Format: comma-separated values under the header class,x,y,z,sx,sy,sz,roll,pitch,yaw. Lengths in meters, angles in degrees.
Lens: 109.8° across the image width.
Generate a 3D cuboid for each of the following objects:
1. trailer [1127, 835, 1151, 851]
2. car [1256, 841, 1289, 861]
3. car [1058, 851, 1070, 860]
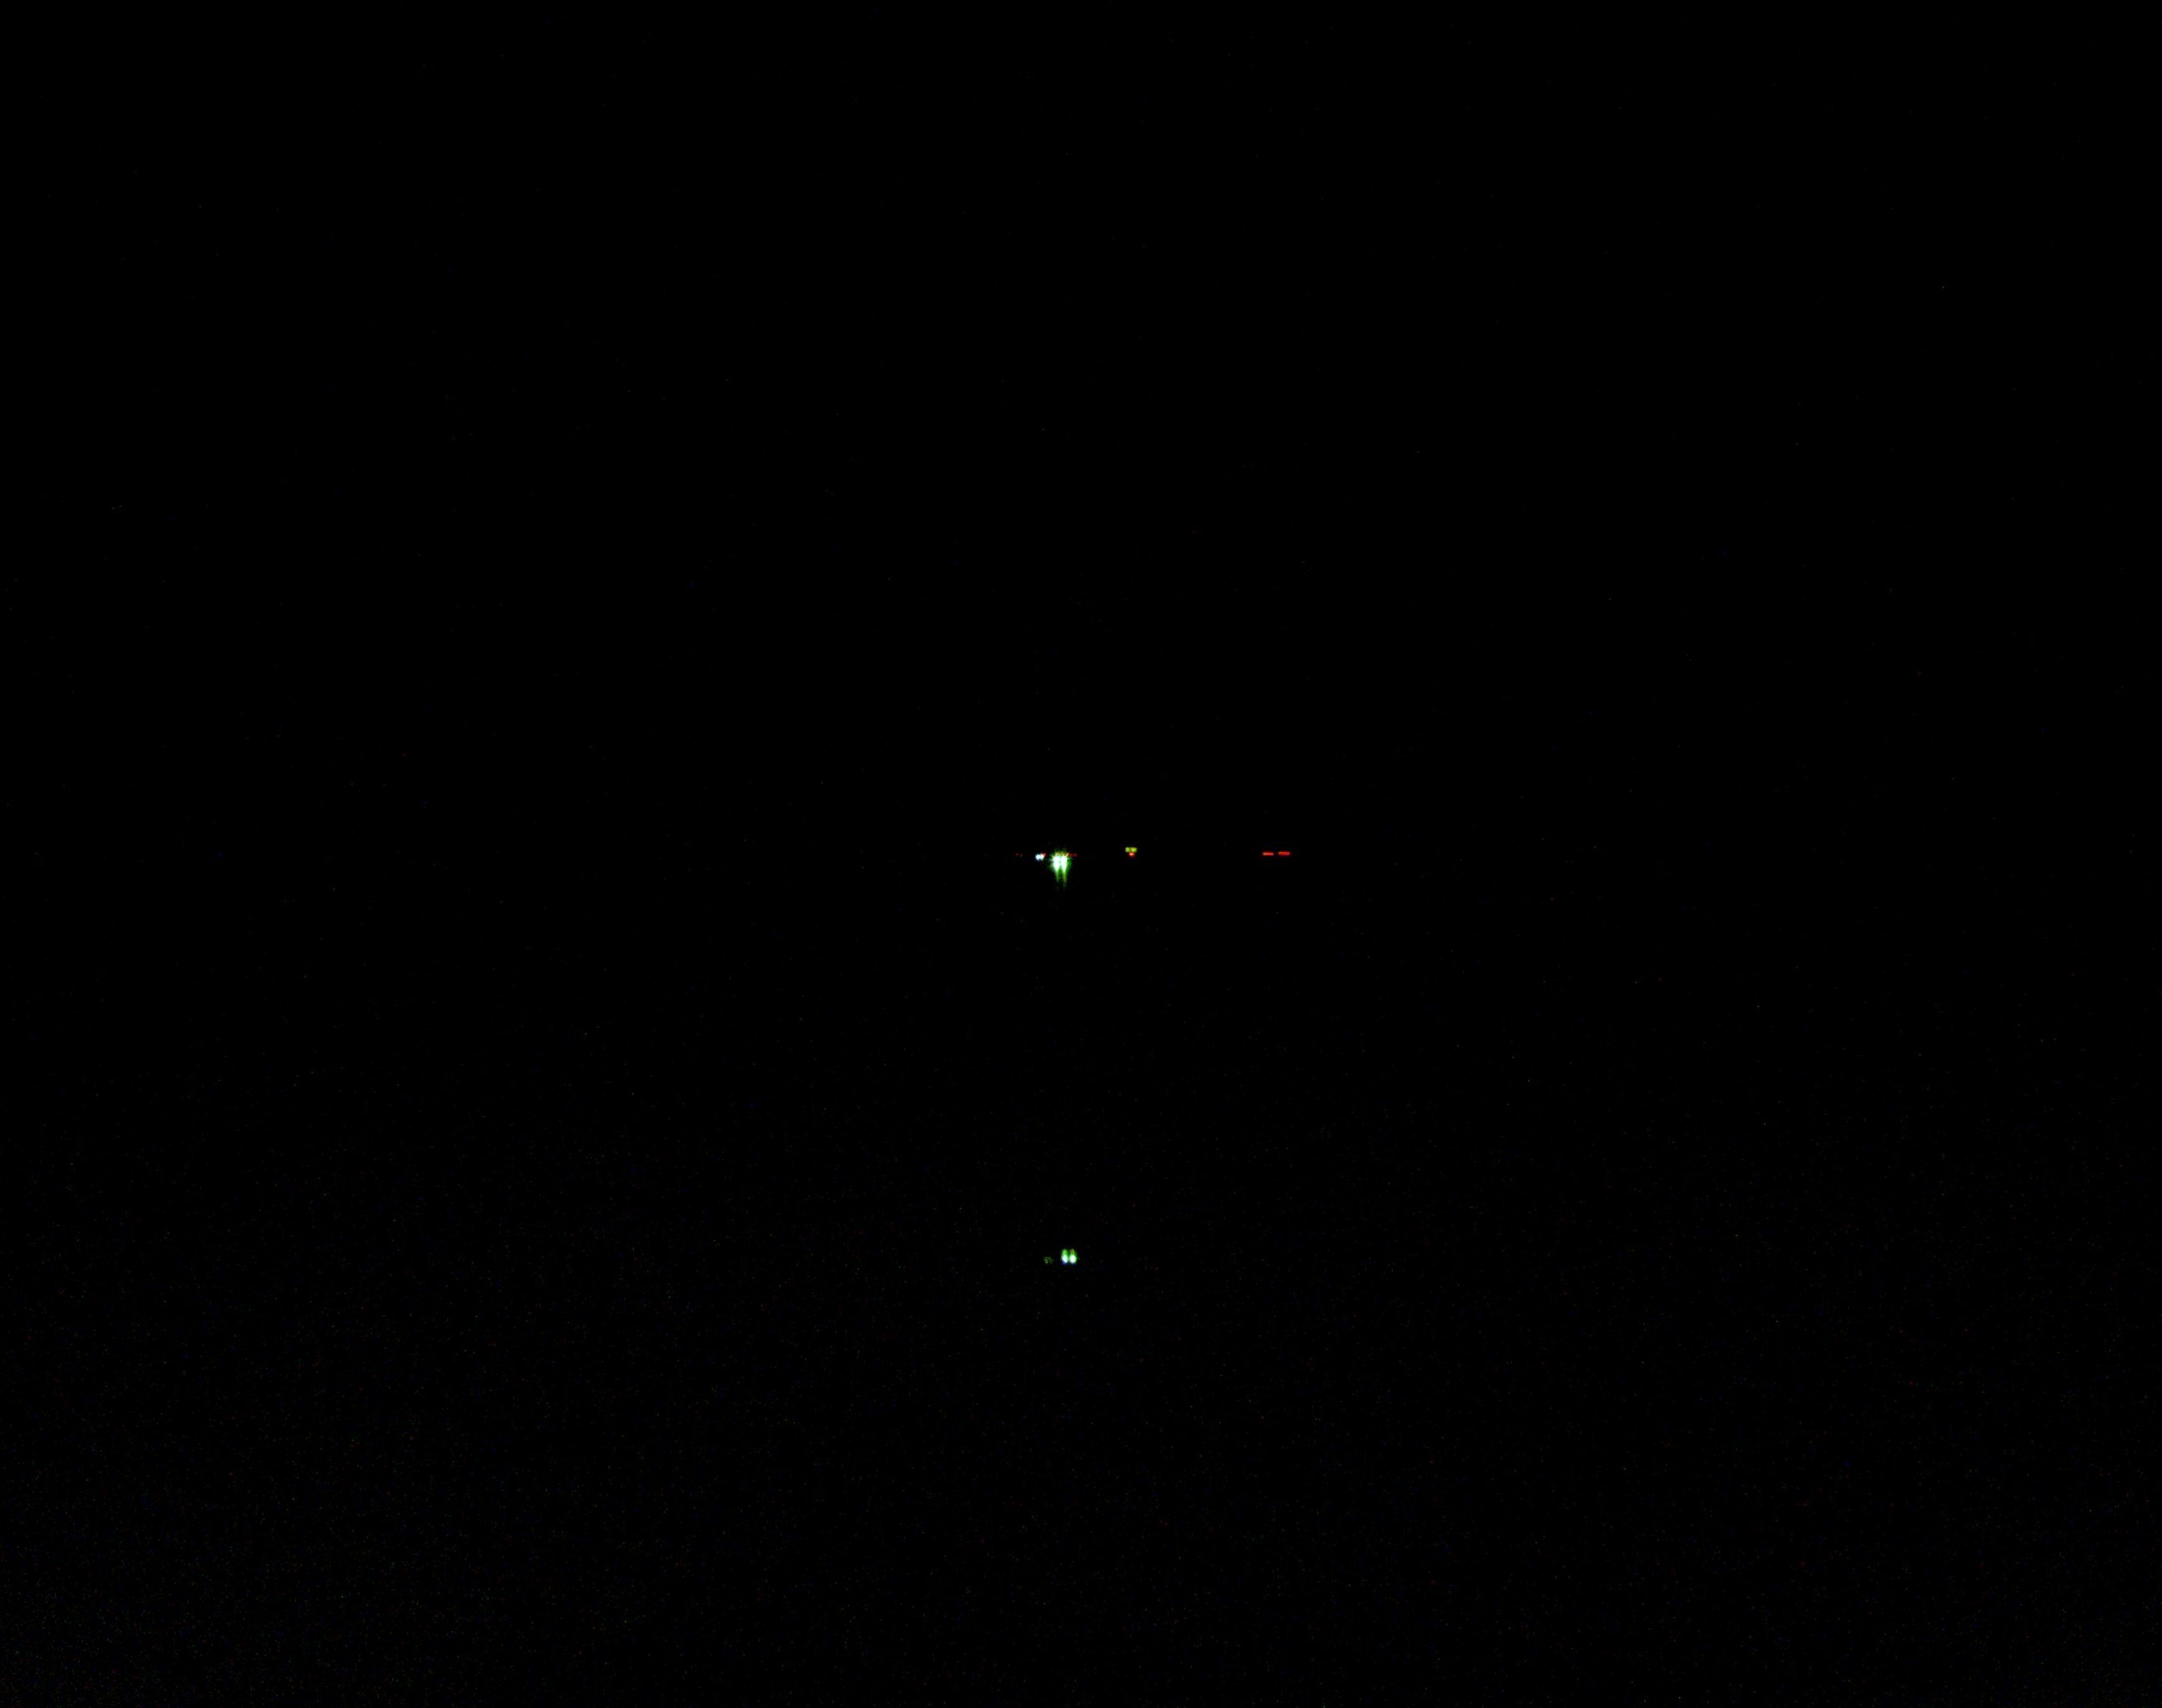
class,x,y,z,sx,sy,sz,roll,pitch,yaw
trailer,15.189,-2.818,200.244,3.553,3.977,17.273,-2,1,-4
car,18.329,-0.306,72.923,1.999,1.776,4.398,-2,1,-1
car,-3.209,0.196,144.329,2.155,1.558,4.580,-2,1,-2
